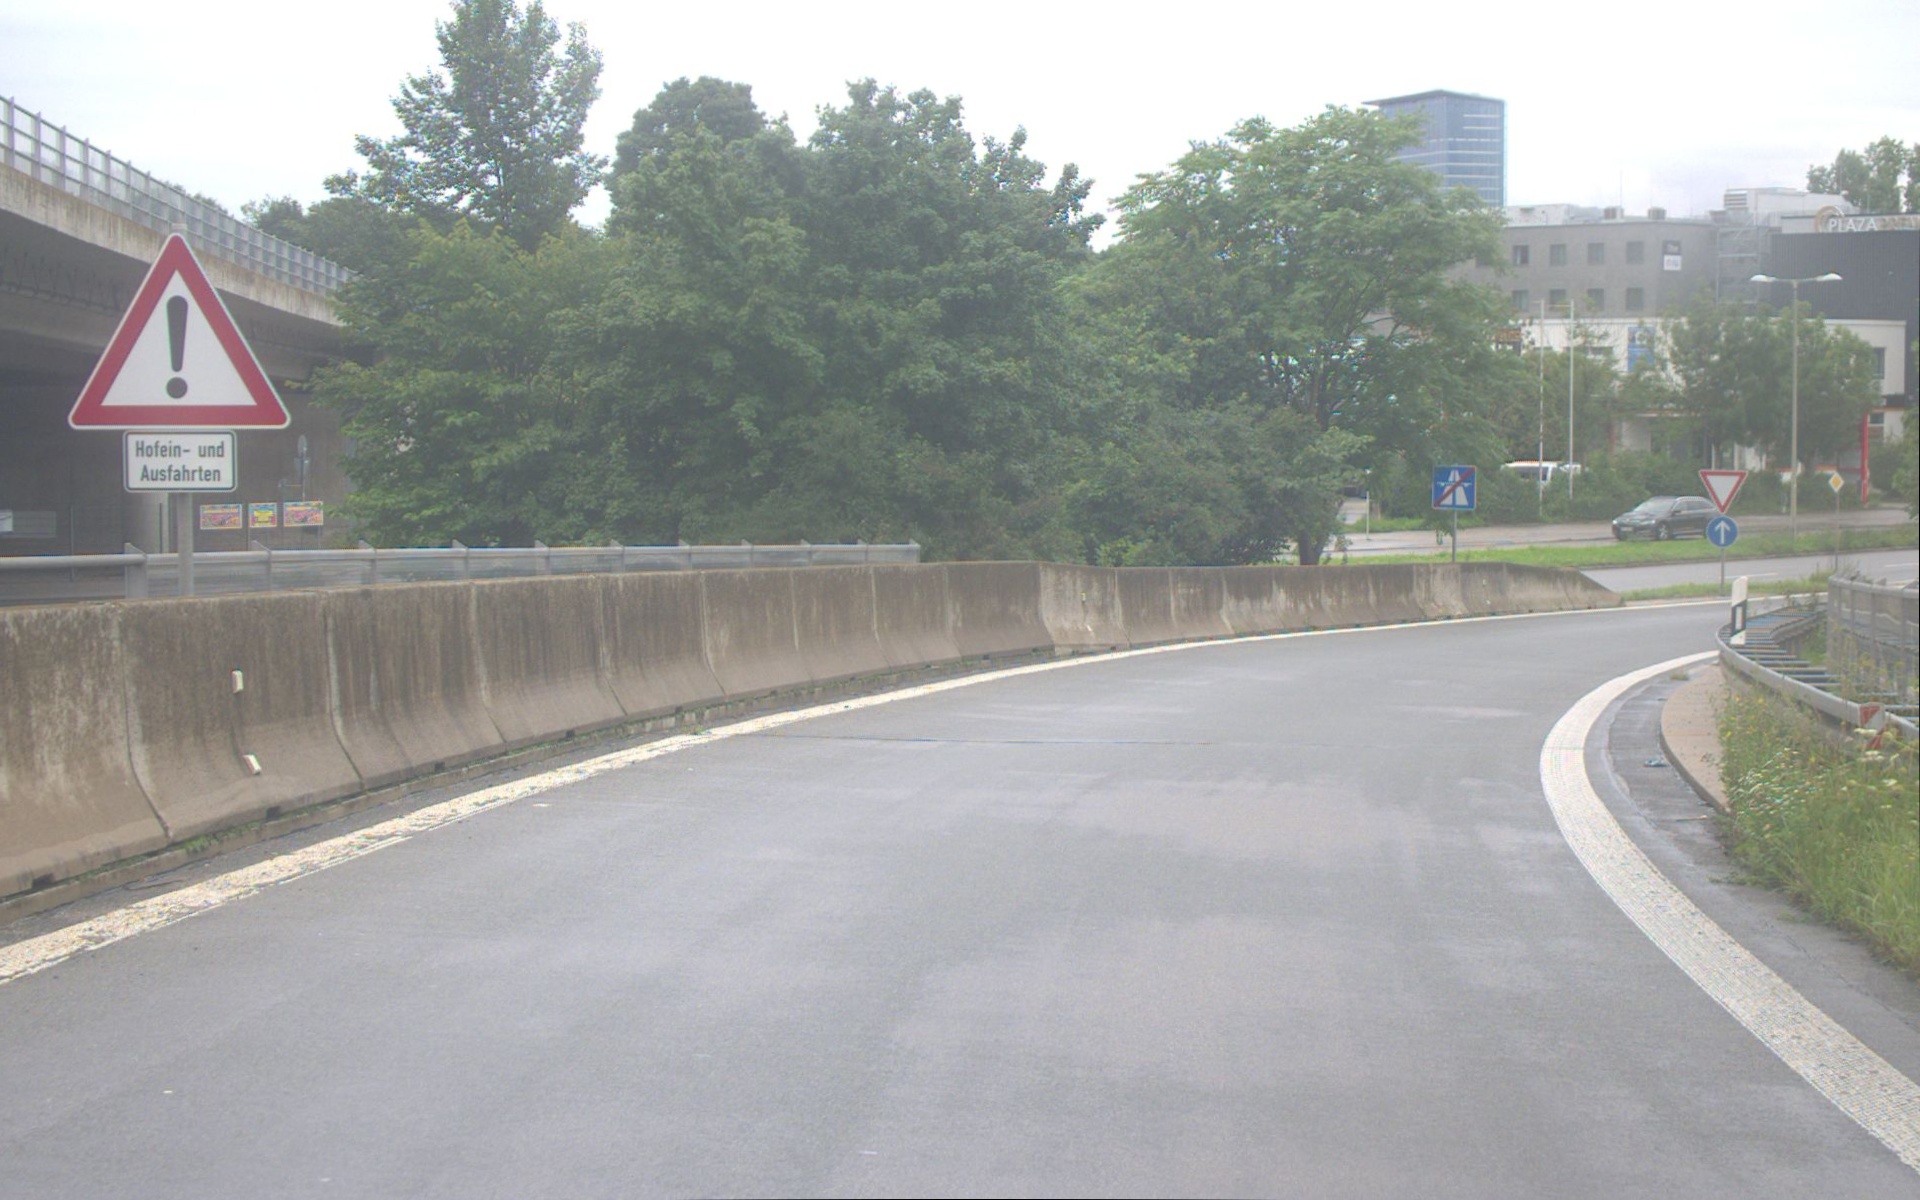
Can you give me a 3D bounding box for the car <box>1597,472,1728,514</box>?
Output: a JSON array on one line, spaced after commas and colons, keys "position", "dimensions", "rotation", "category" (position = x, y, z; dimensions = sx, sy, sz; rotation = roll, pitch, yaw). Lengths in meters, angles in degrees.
[{"position": [24.111, -3.676, 117.975], "dimensions": [4.804, 1.392, 1.974], "rotation": [-2, 3, -43], "category": "car"}]
